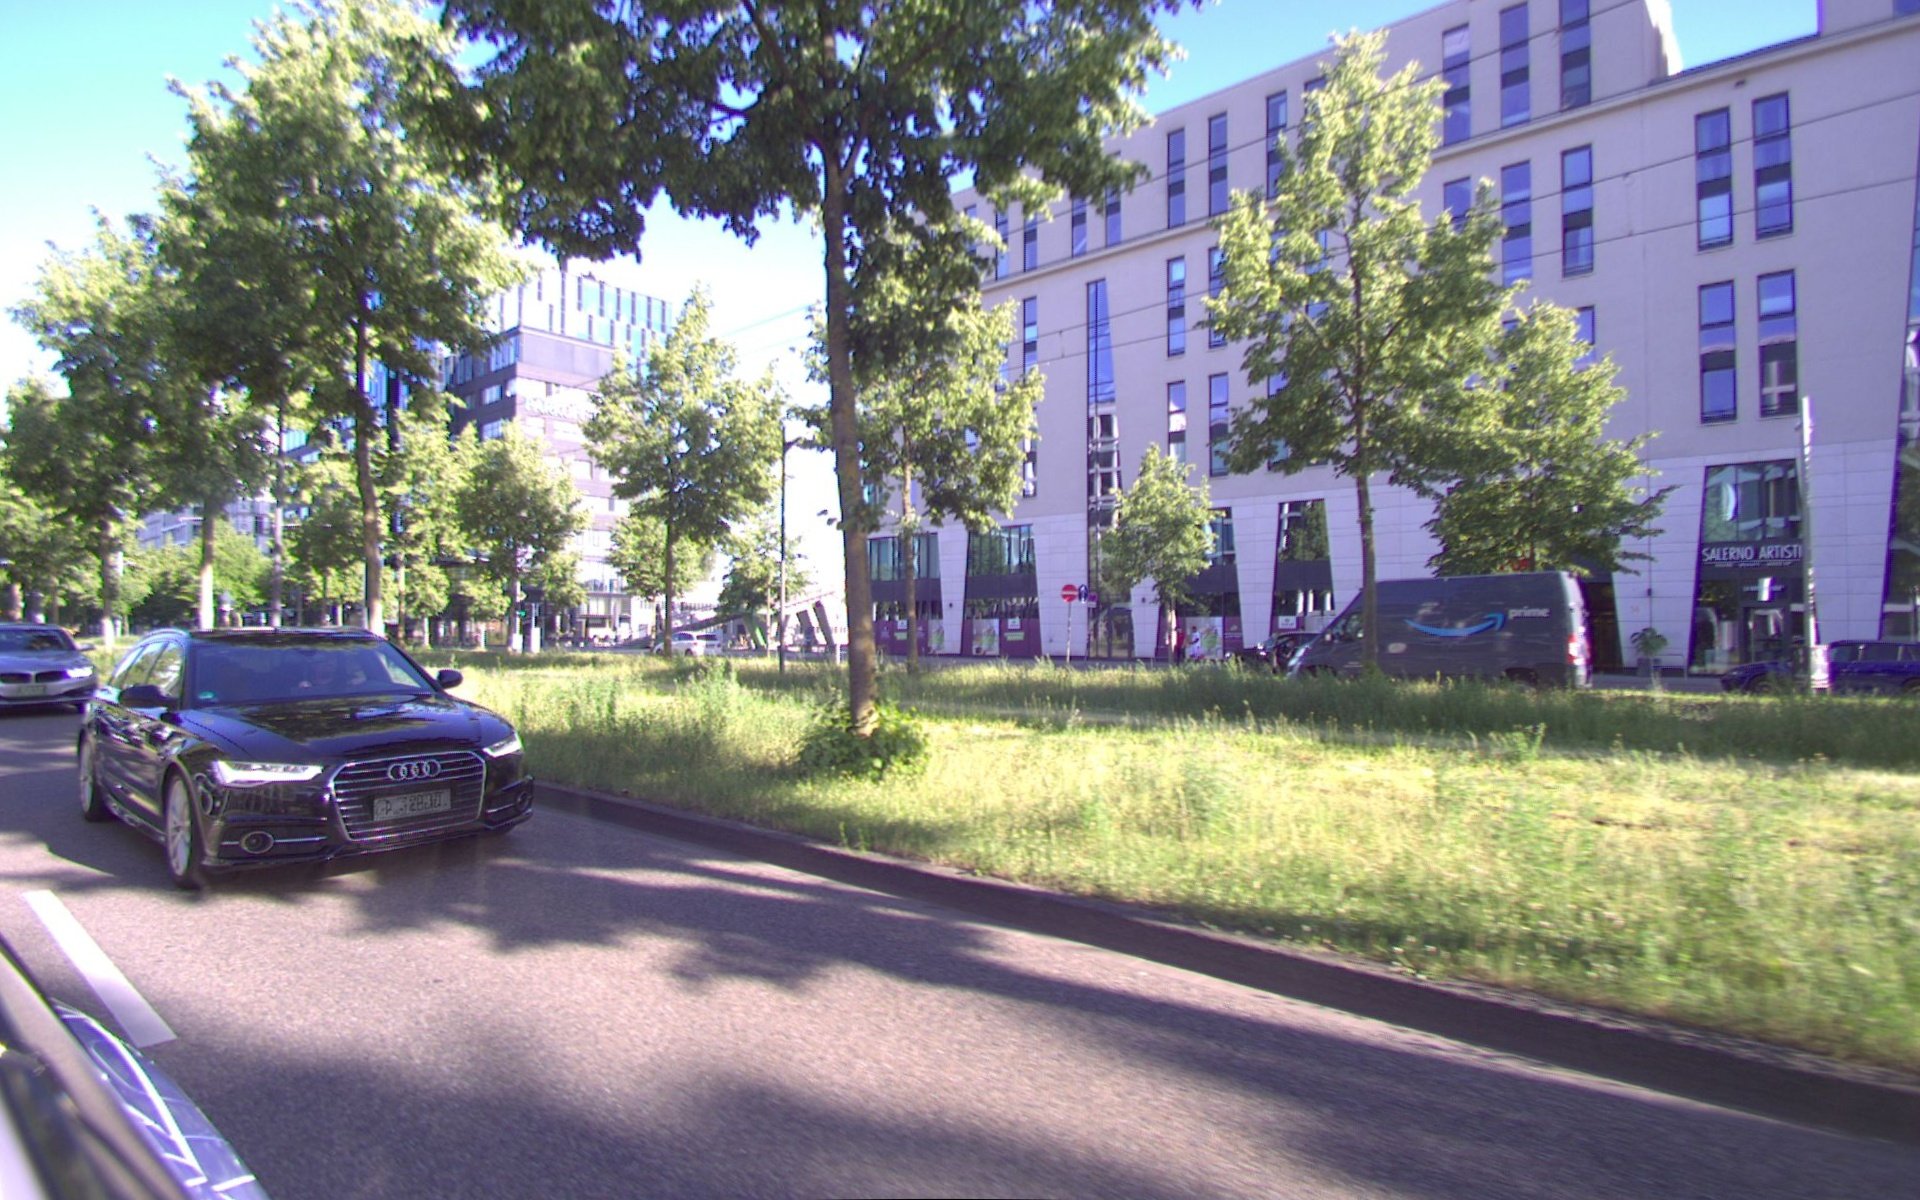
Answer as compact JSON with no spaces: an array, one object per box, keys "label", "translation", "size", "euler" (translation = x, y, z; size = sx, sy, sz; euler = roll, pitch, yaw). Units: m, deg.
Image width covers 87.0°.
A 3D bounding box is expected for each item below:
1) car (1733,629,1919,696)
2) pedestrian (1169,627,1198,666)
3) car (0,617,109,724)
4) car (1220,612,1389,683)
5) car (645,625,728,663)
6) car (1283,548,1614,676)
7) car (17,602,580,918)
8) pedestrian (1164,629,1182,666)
[{"label":"car","translation":[20.206,1.365,22.844],"size":[4.331,1.424,1.706],"euler":[-2,-2,38]},{"label":"pedestrian","translation":[9.264,1.921,41.890],"size":[0.964,1.548,0.649],"euler":[-1,0,45]},{"label":"car","translation":[-15.998,1.120,17.117],"size":[4.276,1.590,1.862],"euler":[-1,0,42]},{"label":"car","translation":[10.579,1.440,31.273],"size":[4.549,2.029,1.974],"euler":[-2,-2,39]},{"label":"car","translation":[-14.470,2.281,53.461],"size":[4.416,1.822,2.079],"euler":[-1,0,39]},{"label":"car","translation":[10.452,0.254,21.990],"size":[6.025,2.399,2.480],"euler":[-1,0,41]},{"label":"car","translation":[-4.925,0.866,7.170],"size":[5.080,1.492,1.933],"euler":[-3,-3,40]},{"label":"pedestrian","translation":[8.827,1.968,42.013],"size":[0.459,1.470,0.595],"euler":[-1,0,44]}]
